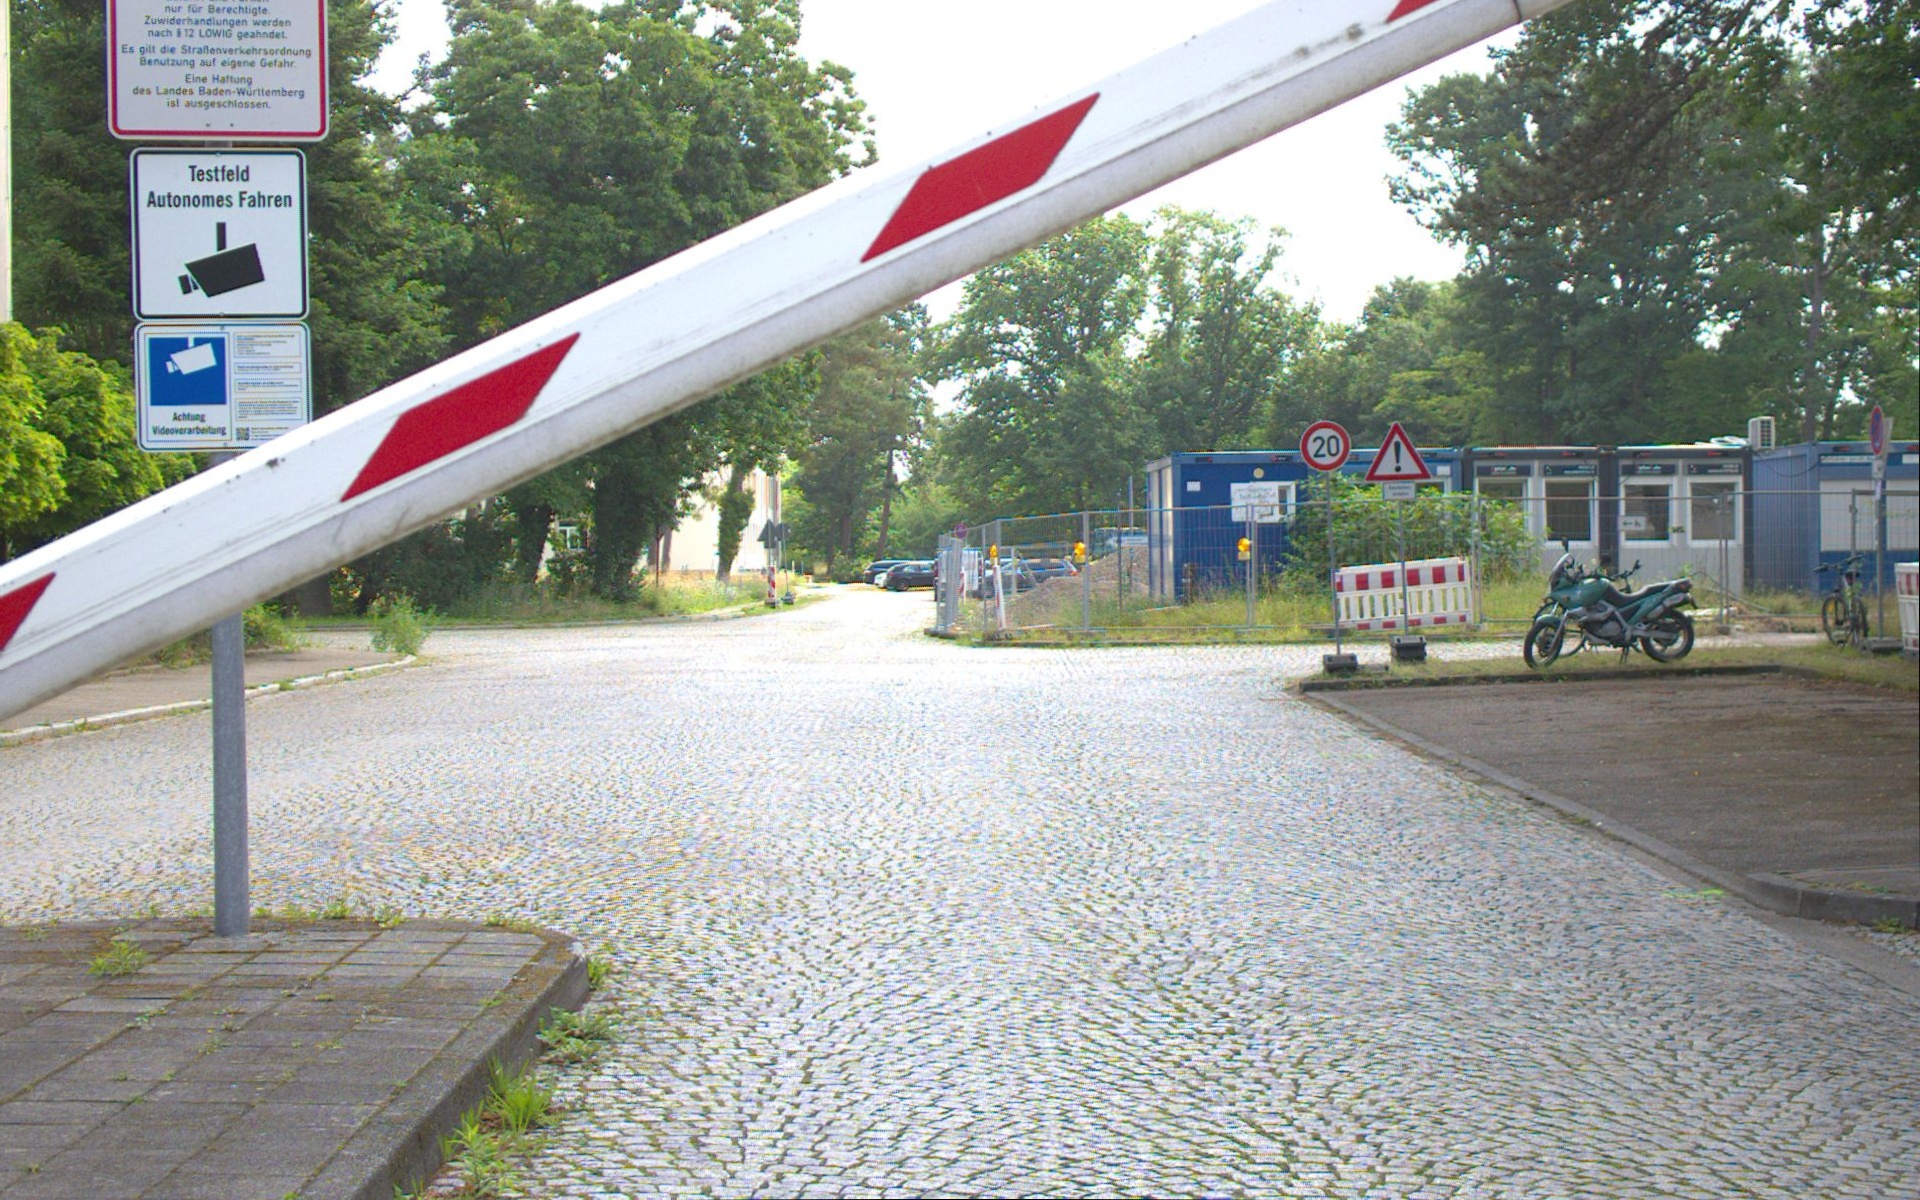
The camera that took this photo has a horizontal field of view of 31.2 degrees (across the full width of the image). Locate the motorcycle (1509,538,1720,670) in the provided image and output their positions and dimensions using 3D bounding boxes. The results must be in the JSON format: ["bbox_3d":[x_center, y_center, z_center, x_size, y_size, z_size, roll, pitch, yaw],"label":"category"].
[{"bbox_3d":[7.644,0.036,40.188,2.276,1.480,0.757,-1,1,-5],"label":"motorcycle"}]

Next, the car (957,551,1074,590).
[{"bbox_3d":[2.223,-1.175,137.005,4.404,1.505,1.999,1,1,8],"label":"car"}]

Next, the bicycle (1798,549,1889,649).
[{"bbox_3d":[10.700,-0.029,41.682,0.642,1.165,1.905,-1,1,2],"label":"bicycle"}]

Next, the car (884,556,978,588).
[{"bbox_3d":[-1.514,-1.473,179.784,4.779,1.635,2.000,0,0,-5],"label":"car"}]

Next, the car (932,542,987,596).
[{"bbox_3d":[-0.030,-1.187,131.381,1.993,2.007,4.091,0,0,-2],"label":"car"}]

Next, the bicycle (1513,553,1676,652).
[{"bbox_3d":[7.876,0.028,42.688,1.900,1.193,0.655,-1,1,19],"label":"bicycle"}]
